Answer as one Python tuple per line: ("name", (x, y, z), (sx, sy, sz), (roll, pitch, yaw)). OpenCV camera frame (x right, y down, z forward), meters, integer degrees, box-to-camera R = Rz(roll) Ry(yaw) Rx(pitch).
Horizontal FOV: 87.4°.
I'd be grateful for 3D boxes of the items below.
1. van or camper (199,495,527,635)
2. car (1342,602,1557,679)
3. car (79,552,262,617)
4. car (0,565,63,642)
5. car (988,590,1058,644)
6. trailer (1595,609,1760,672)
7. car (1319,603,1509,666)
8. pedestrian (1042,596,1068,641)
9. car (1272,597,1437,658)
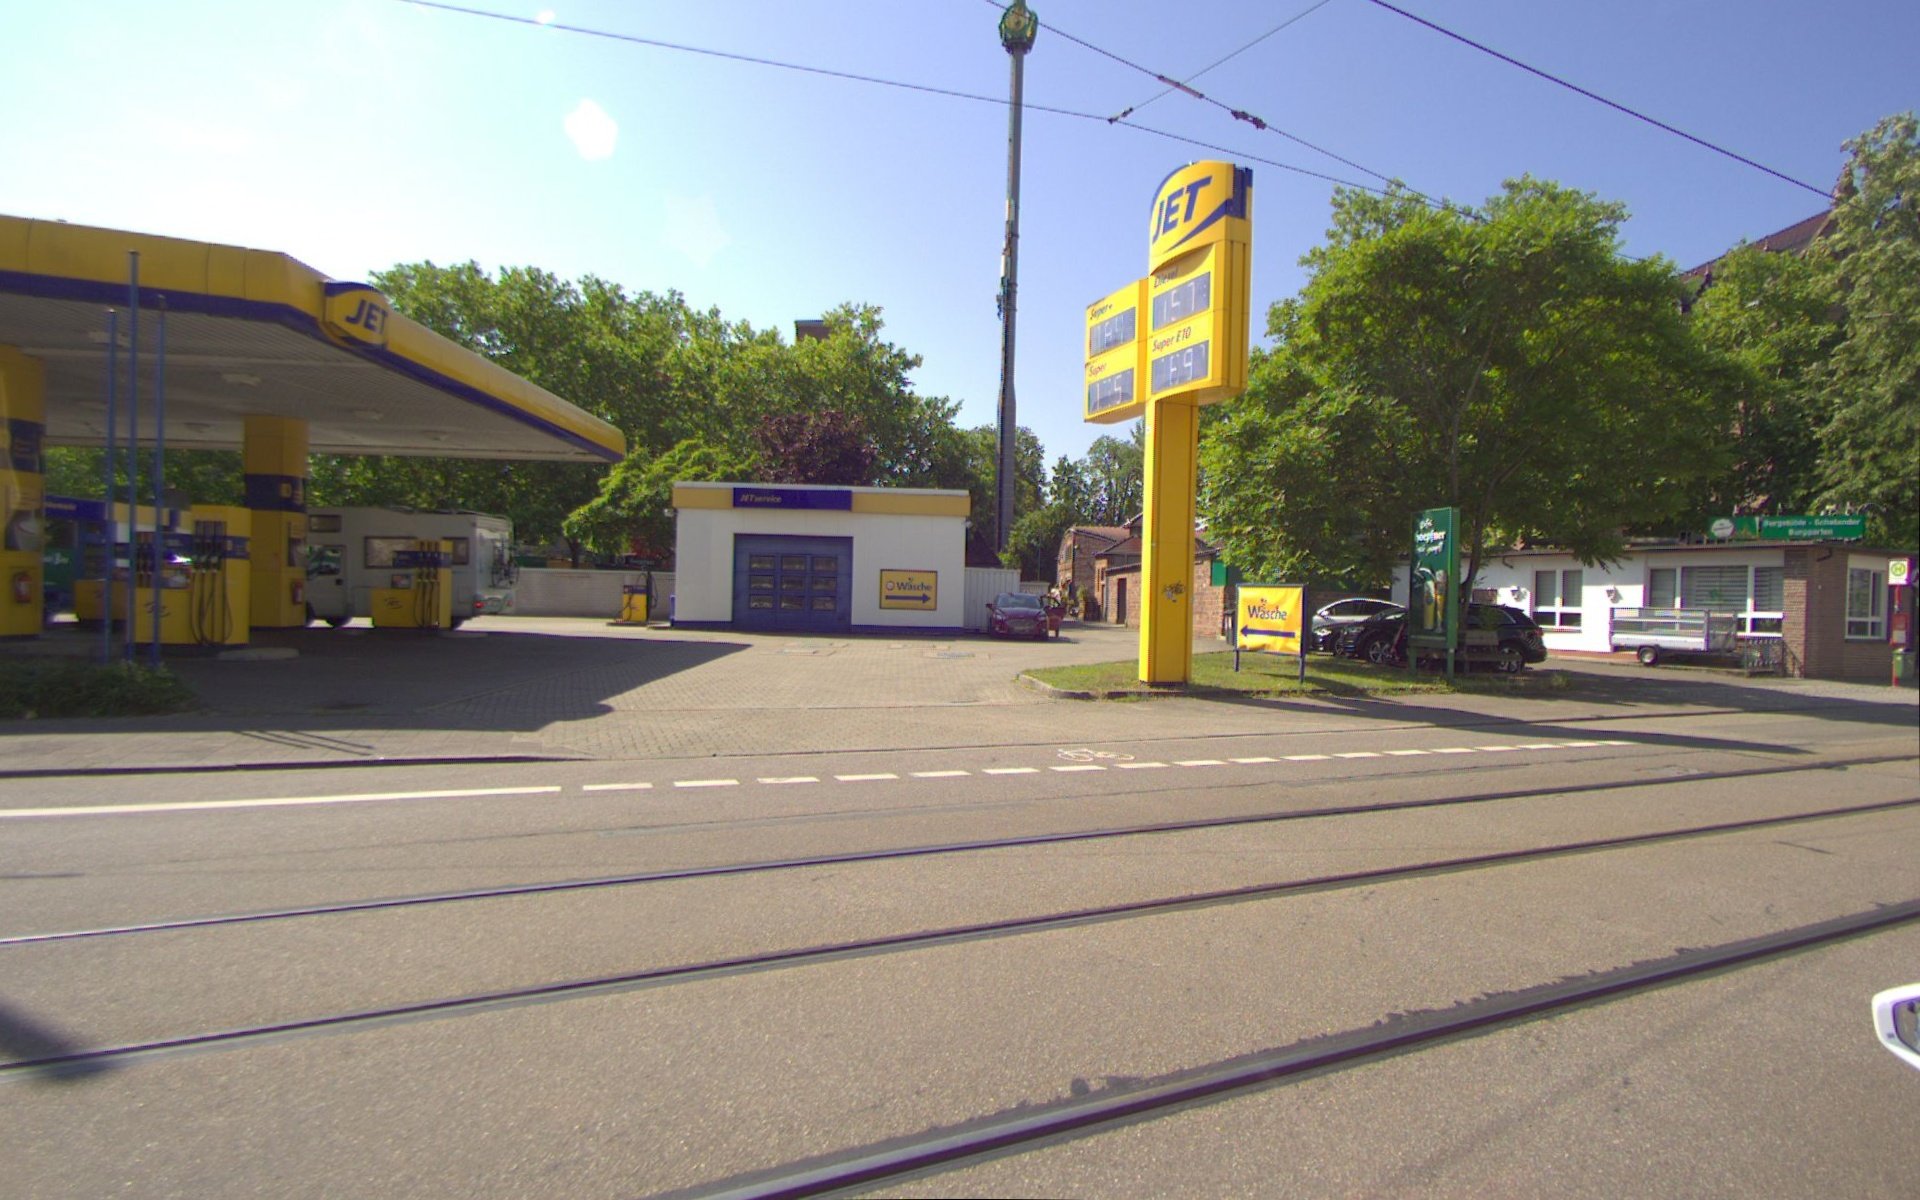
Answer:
("van or camper", (-14.842, -0.884, 25.387), (6.585, 3.007, 2.614), (3, 3, -4))
("car", (11.897, 0.941, 24.784), (4.487, 1.647, 1.950), (2, 0, 18))
("car", (-25.599, -0.520, 32.678), (4.388, 1.786, 1.778), (3, 2, -3))
("car", (-19.005, -0.015, 17.980), (4.304, 1.321, 1.701), (2, 2, -2))
("car", (1.940, 0.495, 32.048), (1.899, 1.547, 4.171), (2, 0, 0))
("trailer", (19.534, 1.067, 27.459), (1.754, 1.546, 3.206), (2, 0, -25))
("car", (12.222, 0.899, 27.392), (4.487, 1.487, 1.950), (2, 0, 18))
("pedestrian", (3.252, 0.634, 34.297), (0.629, 1.488, 0.676), (2, 0, -18))
("car", (11.852, 0.803, 30.474), (4.488, 1.604, 1.950), (2, 0, 19))
